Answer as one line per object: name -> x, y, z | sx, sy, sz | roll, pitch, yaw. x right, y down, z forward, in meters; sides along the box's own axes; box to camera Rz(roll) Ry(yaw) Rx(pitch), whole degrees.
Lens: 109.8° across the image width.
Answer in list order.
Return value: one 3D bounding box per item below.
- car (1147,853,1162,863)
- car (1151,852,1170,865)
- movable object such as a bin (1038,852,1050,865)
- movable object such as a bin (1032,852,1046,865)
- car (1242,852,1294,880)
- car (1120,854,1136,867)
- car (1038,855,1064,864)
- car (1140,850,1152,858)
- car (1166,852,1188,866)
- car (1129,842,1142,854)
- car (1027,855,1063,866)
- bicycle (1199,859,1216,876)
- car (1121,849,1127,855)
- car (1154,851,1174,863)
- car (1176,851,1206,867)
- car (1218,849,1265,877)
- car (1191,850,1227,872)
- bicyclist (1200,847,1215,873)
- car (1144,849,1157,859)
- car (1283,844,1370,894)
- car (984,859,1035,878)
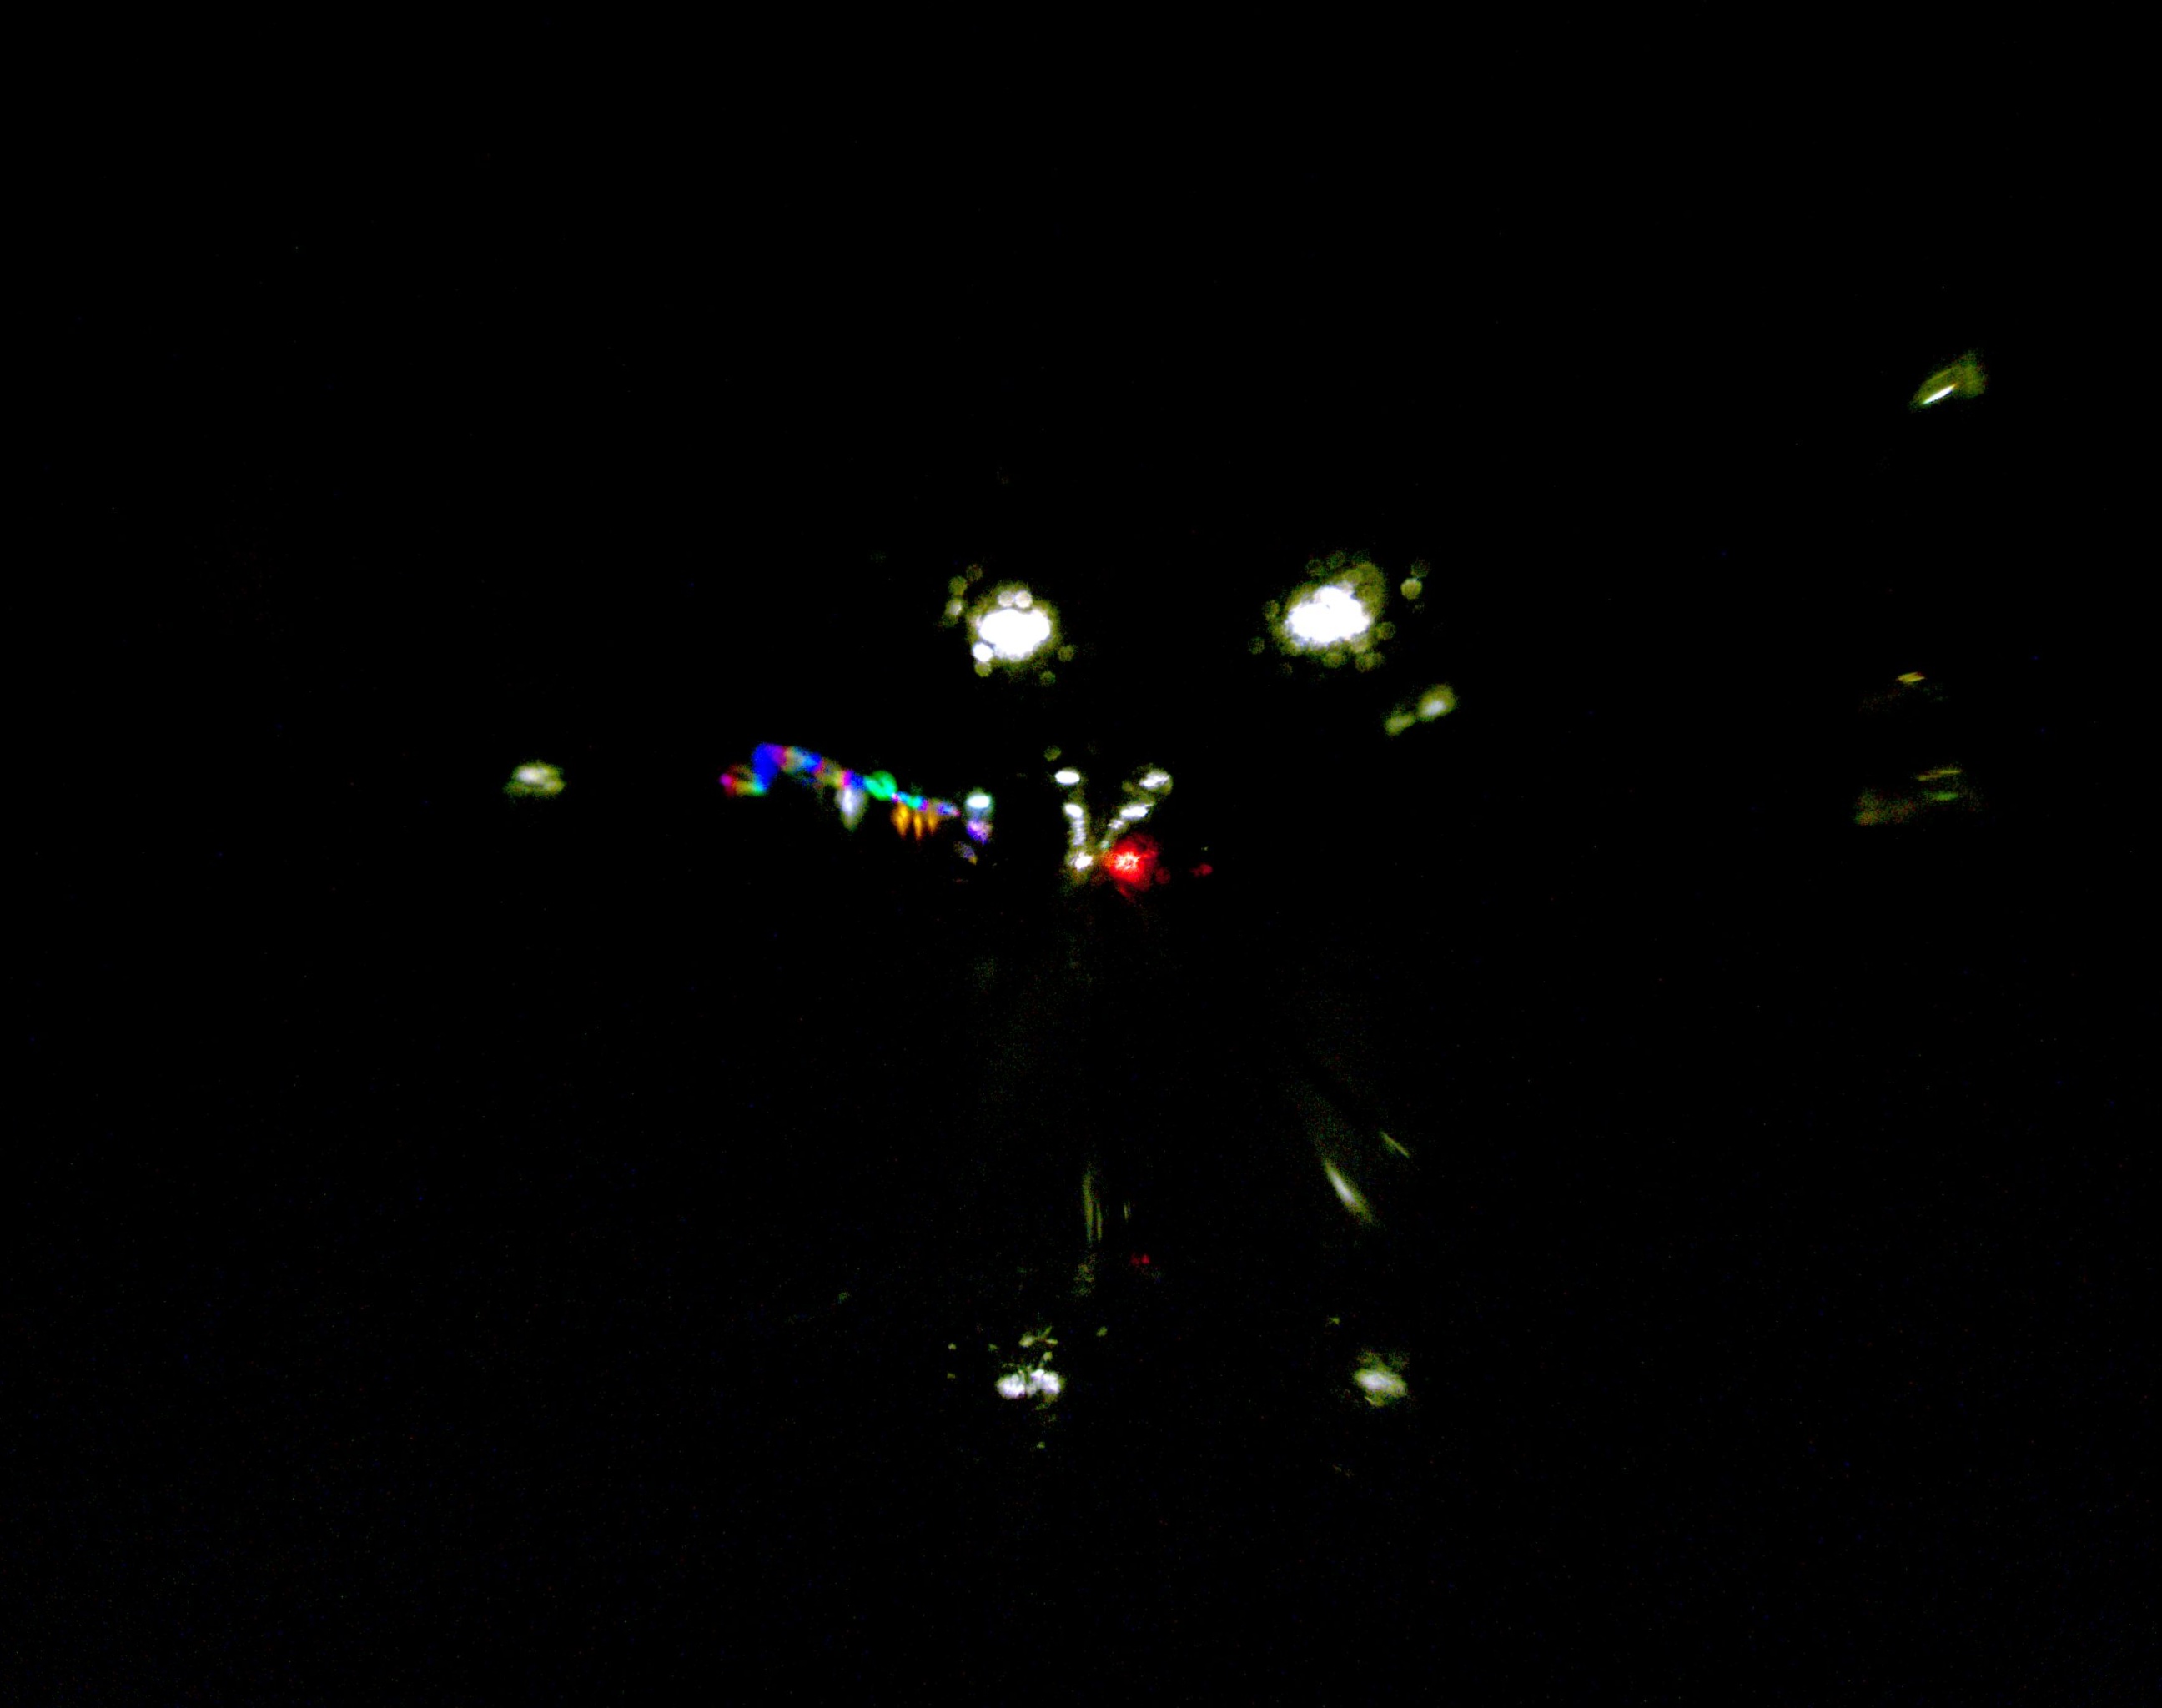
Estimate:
car -> 11.052, 0.595, 114.328 | 1.735, 1.430, 4.625 | -2, 1, 1
car -> 10.971, 0.571, 105.208 | 2.149, 1.610, 4.588 | -4, 1, 0
movable object such as a bin -> -4.260, 0.512, 86.295 | 1.326, 1.400, 1.159 | 0, 1, -5
movable object such as a bin -> -4.661, 0.520, 84.037 | 1.371, 1.414, 1.073 | 0, 1, 6
car -> 9.931, 0.595, 40.626 | 1.695, 1.413, 3.913 | -1, 0, -2
car -> 5.884, 0.815, 94.947 | 1.780, 1.509, 4.051 | -2, 0, 1
car -> -5.245, 0.969, 132.369 | 4.349, 1.459, 1.677 | -2, 1, -38
car -> 11.398, -0.014, 134.054 | 1.723, 1.447, 3.950 | -2, 1, 0
car -> 10.639, 0.540, 84.473 | 1.845, 1.415, 4.207 | -1, 1, -2
car -> 11.923, -1.316, 166.459 | 2.248, 2.494, 5.258 | -4, 1, -2
car -> -4.945, 0.843, 104.699 | 4.604, 1.467, 1.837 | 0, 1, -19
bicycle -> 8.173, 0.870, 49.235 | 0.784, 1.076, 1.918 | 1, 1, 1
car -> 11.842, -0.479, 209.657 | 1.693, 1.566, 3.918 | -2, 1, 1
car -> 10.238, 0.314, 93.672 | 1.778, 1.432, 4.606 | -1, 1, -3
car -> 10.654, 0.490, 73.998 | 1.893, 1.454, 4.958 | -1, 1, -4
car -> 10.077, 0.510, 47.963 | 1.988, 1.622, 4.516 | -2, 1, 1
car -> 10.304, 0.545, 61.438 | 1.885, 1.536, 4.398 | -5, 1, -2
bicyclist -> 8.179, 0.353, 49.220 | 0.784, 1.646, 1.206 | 1, 1, 1
car -> 11.456, -0.034, 125.228 | 1.814, 1.569, 4.353 | -4, 0, 1
car -> 9.408, 0.516, 29.532 | 1.974, 1.646, 4.601 | -4, 1, 2
car -> -6.366, 1.257, 67.592 | 4.111, 1.528, 1.956 | -2, 1, -24
